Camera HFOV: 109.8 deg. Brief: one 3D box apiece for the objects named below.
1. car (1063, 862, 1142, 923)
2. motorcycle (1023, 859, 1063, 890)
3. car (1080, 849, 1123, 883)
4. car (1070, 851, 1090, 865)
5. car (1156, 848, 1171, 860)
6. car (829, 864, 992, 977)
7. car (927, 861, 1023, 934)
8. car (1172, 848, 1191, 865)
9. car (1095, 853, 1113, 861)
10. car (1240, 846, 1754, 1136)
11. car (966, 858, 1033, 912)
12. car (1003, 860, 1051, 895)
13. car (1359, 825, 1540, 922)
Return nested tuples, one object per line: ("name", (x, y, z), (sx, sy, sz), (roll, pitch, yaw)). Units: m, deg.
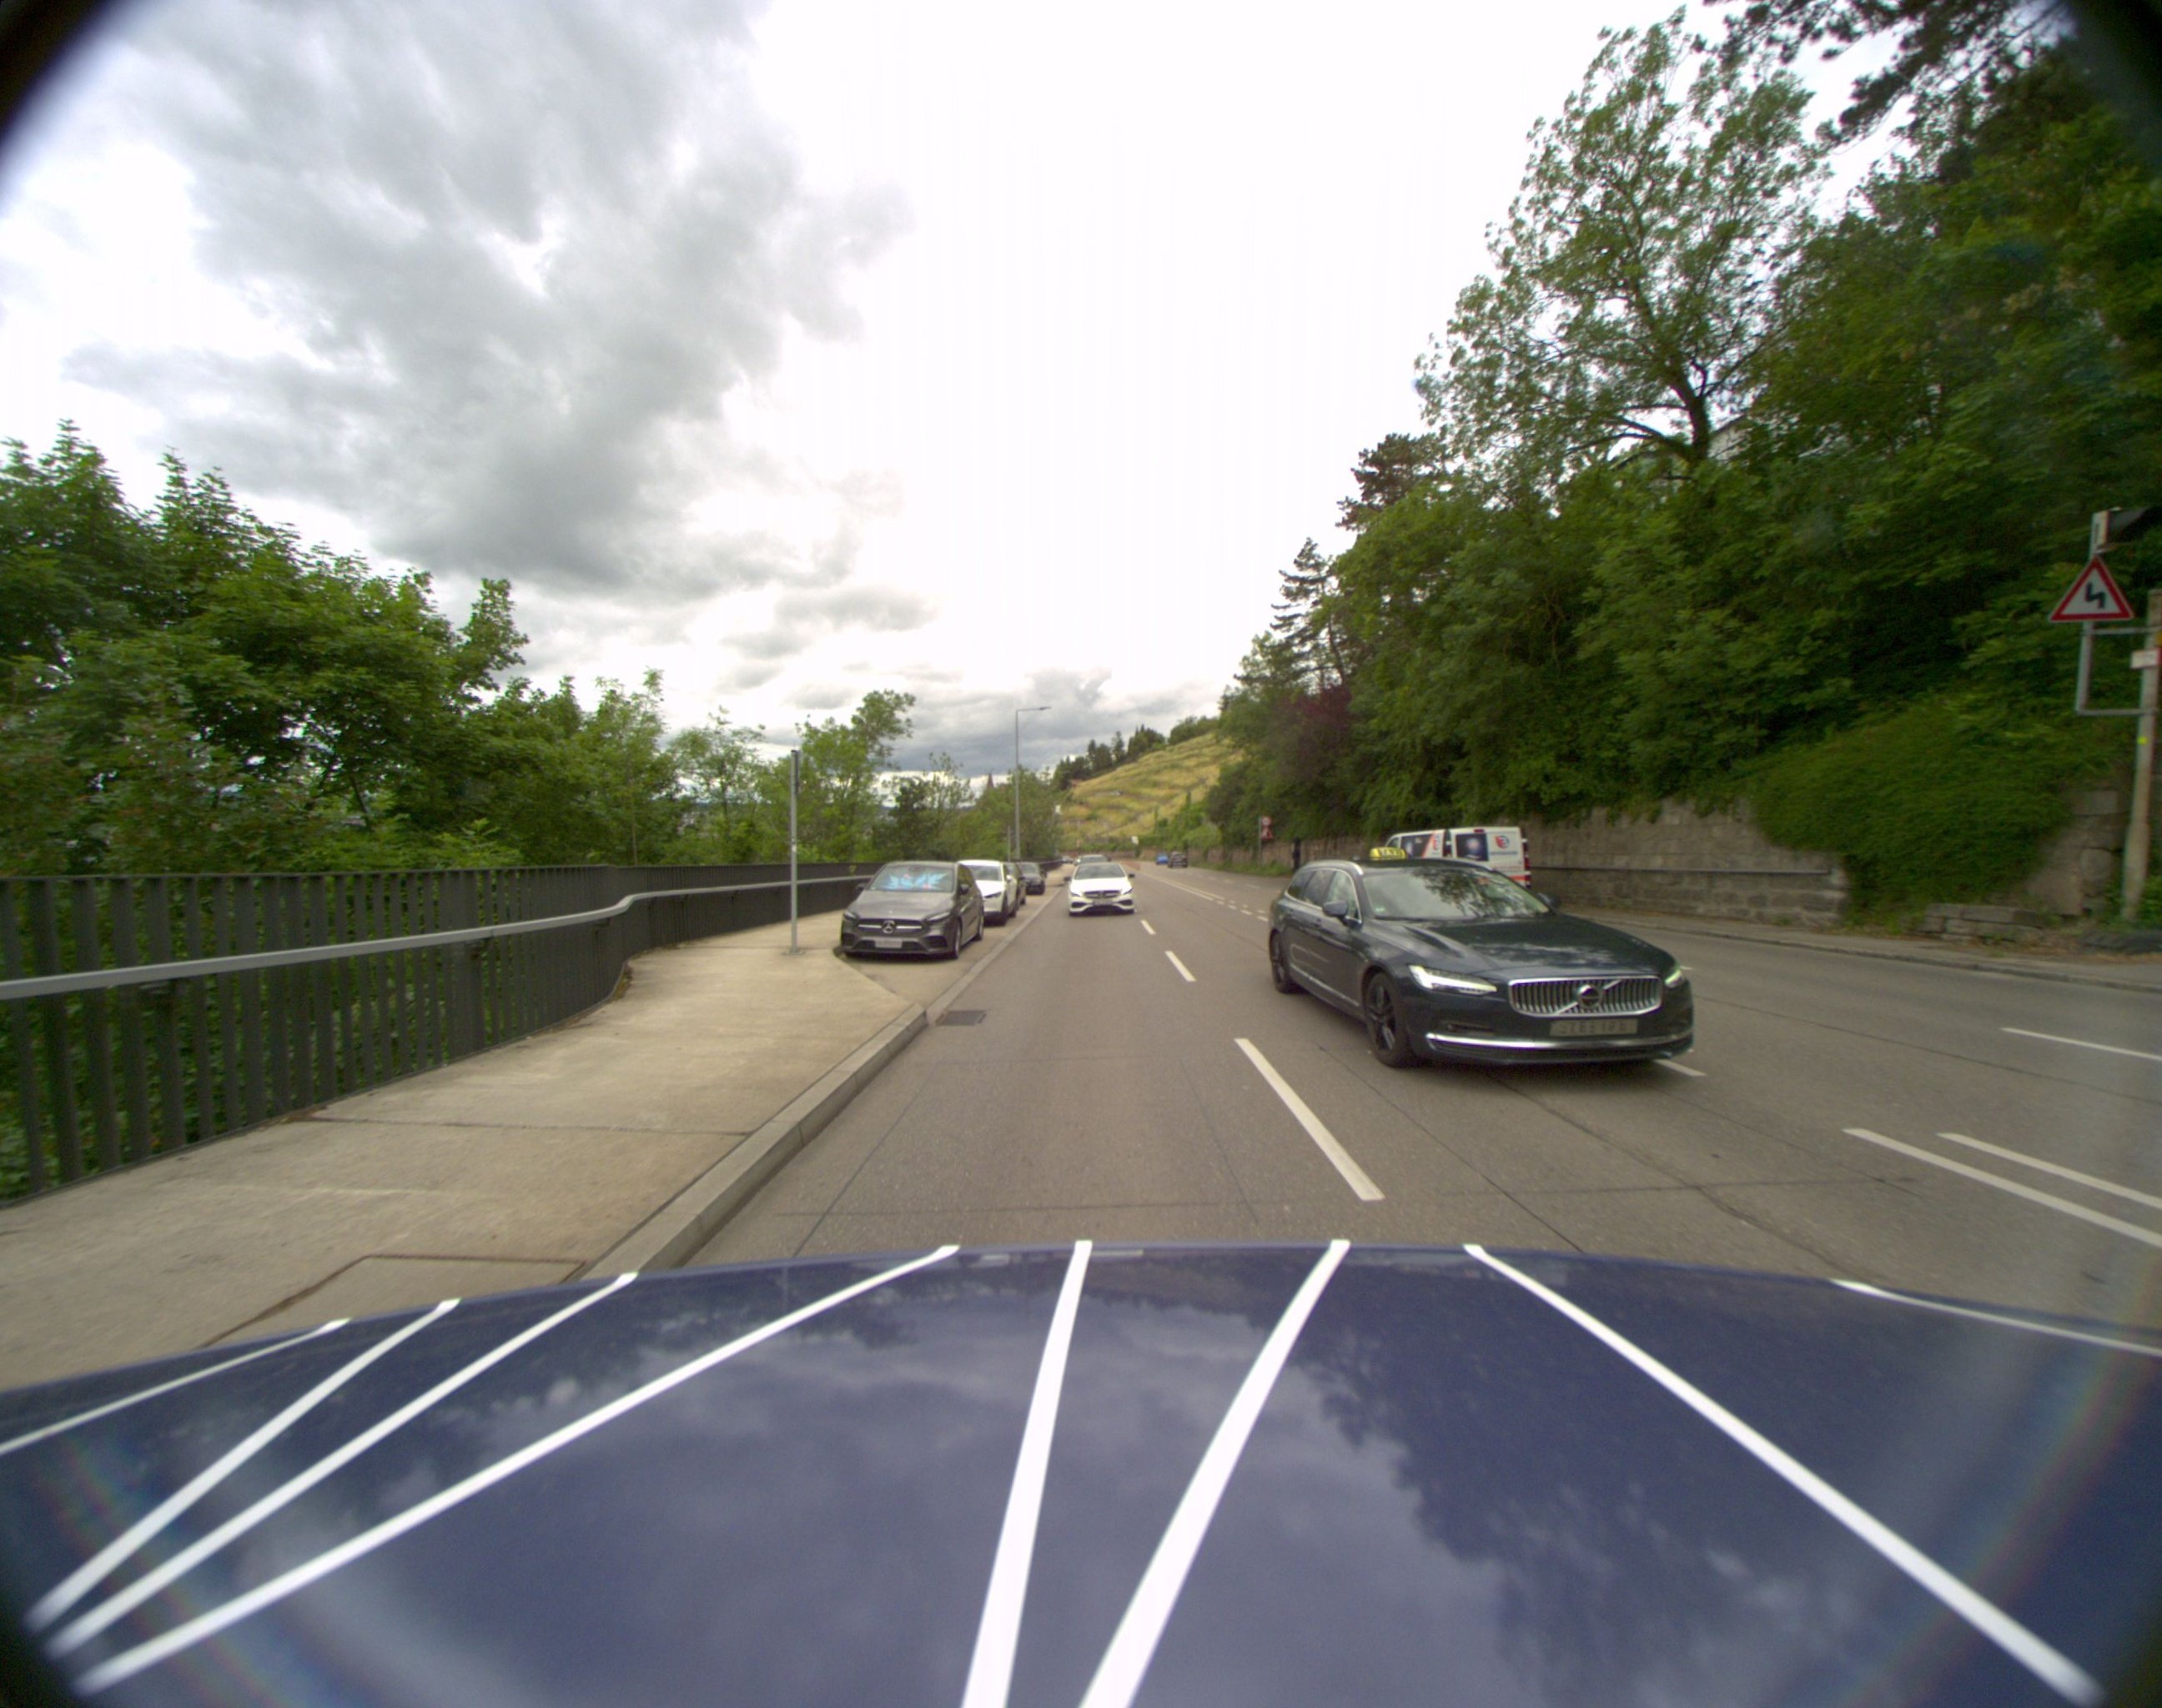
("car", (0.591, 1.005, 21.066), (1.903, 1.418, 4.266), (-3, -1, 1))
("motorcycle", (-1.930, 1.034, 38.951), (0.770, 1.459, 2.509), (-2, 0, 30))
("car", (1.069, 0.571, 39.302), (1.998, 1.580, 4.000), (-3, 0, 2))
("car", (-0.129, 0.649, 121.677), (2.001, 2.002, 3.994), (-2, 0, -18))
("car", (10.615, -0.027, 97.809), (1.587, 1.453, 3.523), (-3, 0, 2))
("car", (-2.758, 0.998, 13.309), (1.761, 1.535, 4.427), (2, 0, 1))
("car", (-2.550, 1.004, 19.395), (1.731, 1.559, 4.624), (0, 0, 1))
("car", (10.737, 0.242, 81.417), (1.819, 1.687, 4.471), (-2, 0, 5))
("car", (4.108, 0.553, 135.118), (1.864, 1.437, 4.289), (-2, 0, -18))
("car", (2.896, 0.781, 6.855), (1.939, 1.567, 5.027), (-3, 0, 2))
("car", (-2.589, 0.953, 25.108), (1.663, 1.563, 4.255), (1, 0, 1))
("car", (-2.354, 1.010, 33.906), (1.828, 1.393, 4.319), (1, 0, 0))
("car", (8.740, 0.409, 18.669), (1.926, 1.993, 5.356), (-2, 0, 1))
